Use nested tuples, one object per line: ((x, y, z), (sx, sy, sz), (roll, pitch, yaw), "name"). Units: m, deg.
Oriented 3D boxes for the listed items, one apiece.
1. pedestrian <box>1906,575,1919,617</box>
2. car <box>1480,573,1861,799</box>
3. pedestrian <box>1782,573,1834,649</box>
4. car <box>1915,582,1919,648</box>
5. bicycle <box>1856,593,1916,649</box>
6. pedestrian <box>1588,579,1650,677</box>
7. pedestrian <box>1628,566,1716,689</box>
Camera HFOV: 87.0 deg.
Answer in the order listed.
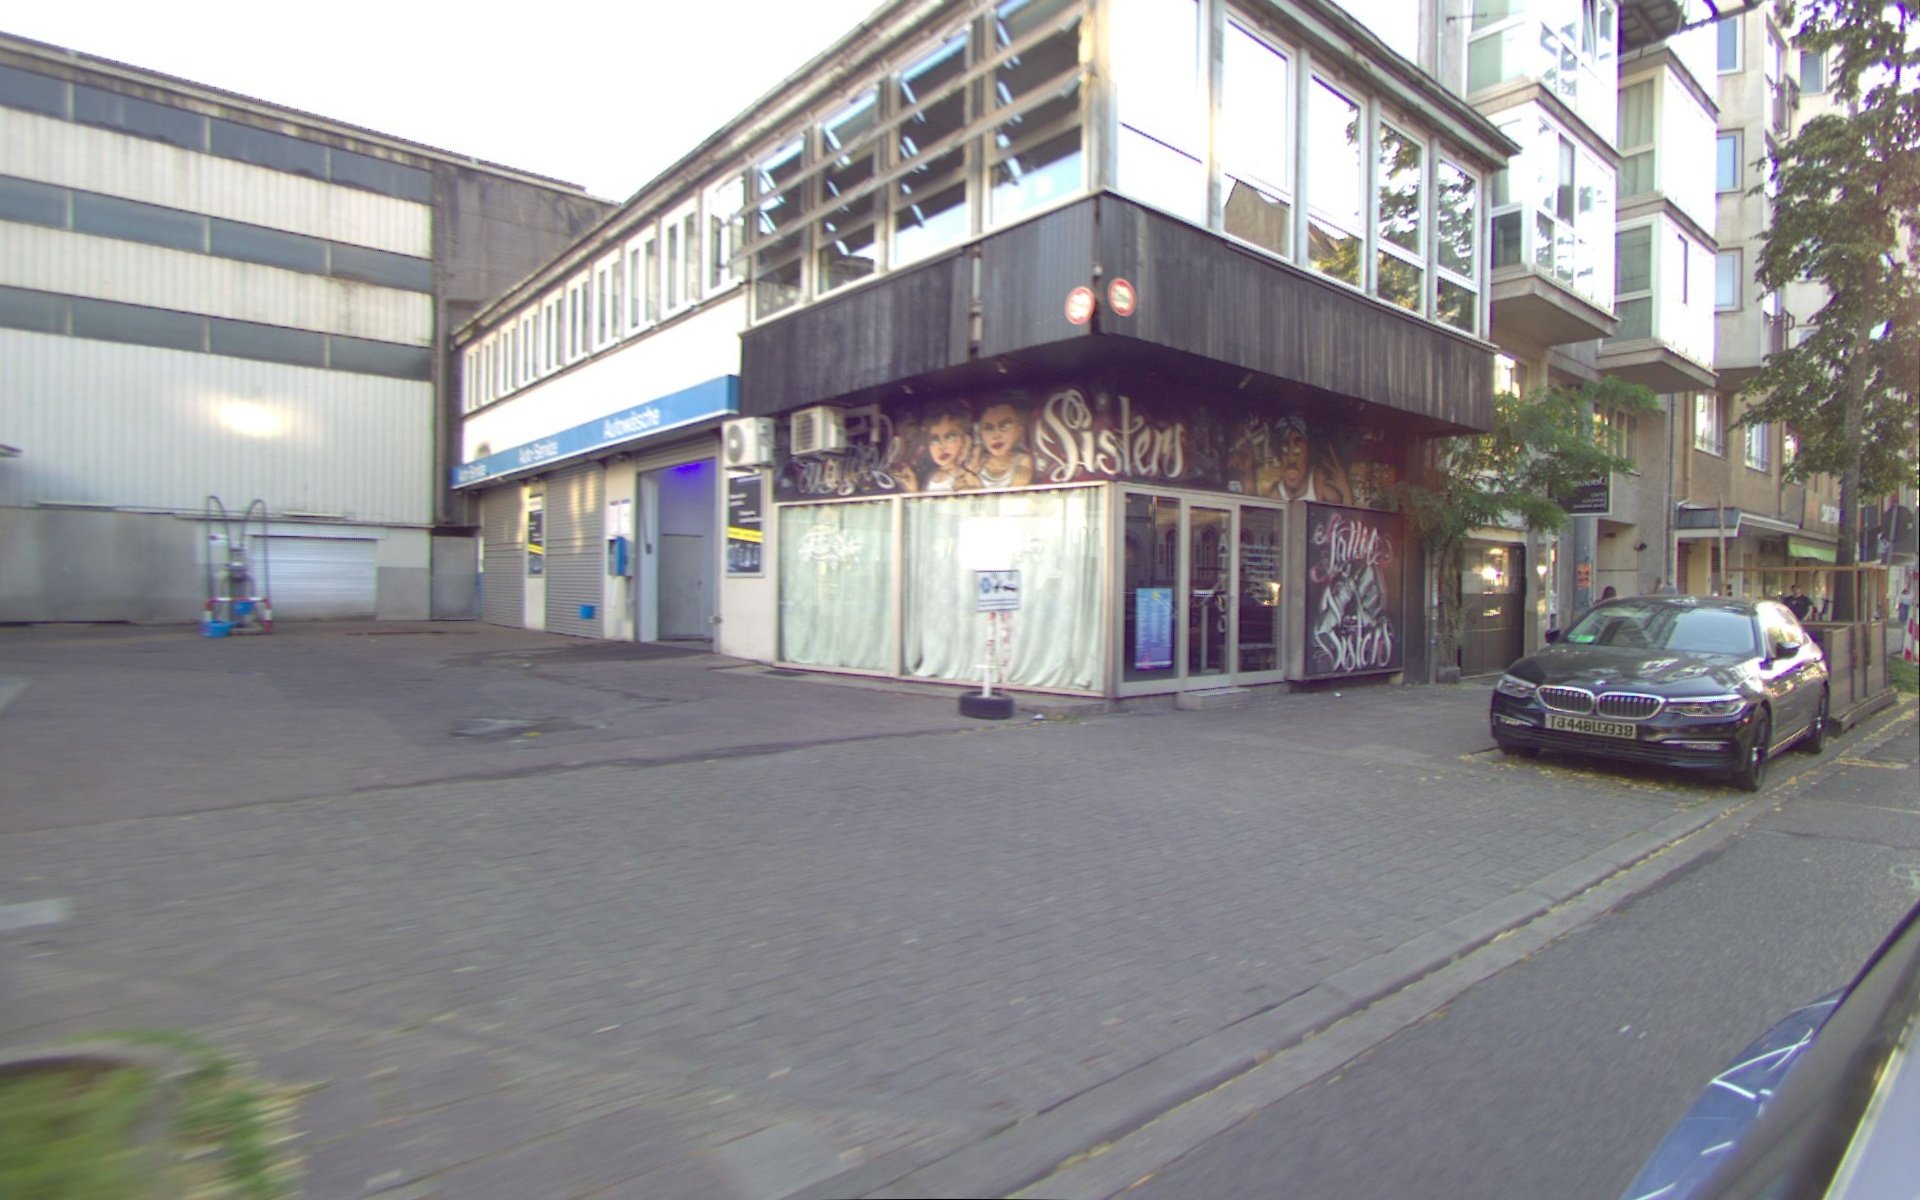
((42.164, -0.169, 44.528), (0.821, 1.831, 0.590), (0, 3, -40), "pedestrian")
((6.712, 0.567, 9.321), (4.767, 1.506, 1.832), (0, 3, -42), "car")
((19.844, 0.243, 23.686), (0.688, 1.725, 0.789), (0, 2, -40), "pedestrian")
((25.646, 0.415, 25.392), (4.608, 1.593, 1.884), (0, 3, -40), "car")
((22.961, 0.496, 25.083), (2.014, 1.277, 0.777), (0, 3, -40), "bicycle")
((10.835, 0.442, 16.639), (0.759, 1.544, 0.612), (0, 2, -40), "pedestrian")
((10.987, 0.398, 15.618), (0.979, 1.816, 0.857), (0, 2, -41), "pedestrian")
